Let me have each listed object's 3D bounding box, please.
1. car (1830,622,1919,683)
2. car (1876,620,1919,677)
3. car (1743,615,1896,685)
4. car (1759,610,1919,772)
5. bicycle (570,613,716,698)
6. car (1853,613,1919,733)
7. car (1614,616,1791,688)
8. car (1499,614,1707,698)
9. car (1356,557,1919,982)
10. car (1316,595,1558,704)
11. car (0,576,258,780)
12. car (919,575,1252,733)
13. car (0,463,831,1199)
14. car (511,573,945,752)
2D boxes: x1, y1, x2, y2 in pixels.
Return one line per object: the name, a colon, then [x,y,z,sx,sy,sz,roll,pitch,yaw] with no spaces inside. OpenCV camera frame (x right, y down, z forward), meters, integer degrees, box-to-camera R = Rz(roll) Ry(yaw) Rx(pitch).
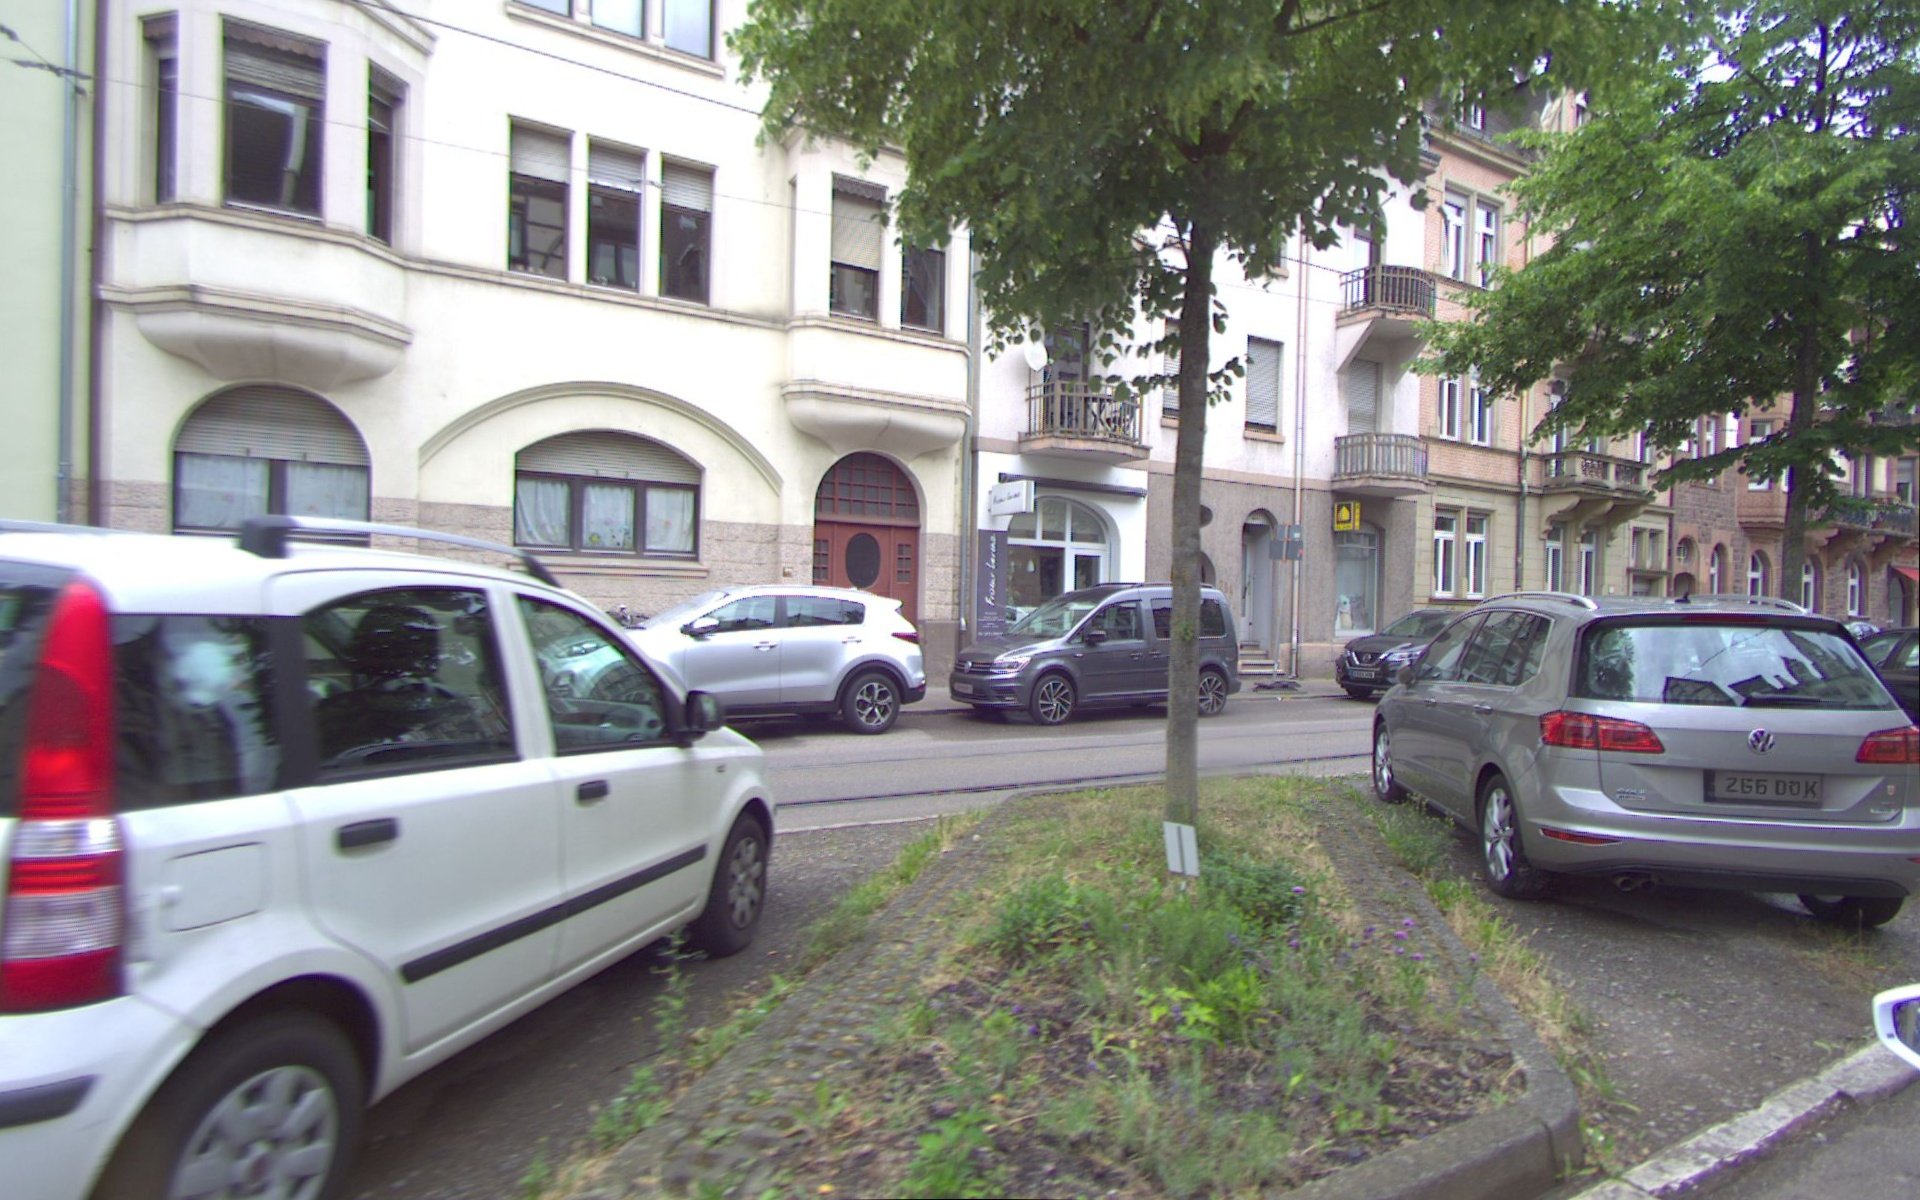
car: [26.469,1.476,28.477,3.680,1.580,1.653,2,0,-31]
car: [30.419,1.524,31.177,4.502,1.648,1.731,2,0,-31]
car: [22.257,1.270,25.978,4.271,1.650,1.759,2,0,-31]
car: [10.057,0.878,10.053,1.740,1.505,4.002,1,0,15]
bicycle: [-4.412,0.758,14.026,1.845,1.102,0.651,1,1,-29]
car: [12.847,0.959,11.665,1.826,1.513,4.567,2,0,16]
car: [16.970,1.170,22.916,4.182,1.457,1.795,2,0,-31]
car: [13.017,1.098,20.266,4.337,1.509,1.795,2,0,-31]
car: [3.741,0.715,6.107,1.690,1.630,4.210,2,-1,11]
car: [8.410,0.843,17.634,4.224,1.702,1.795,2,0,-31]
car: [-8.226,0.575,8.051,4.149,1.542,1.840,1,0,-33]
car: [1.792,0.688,13.986,4.379,1.895,1.842,1,0,-30]
car: [-1.804,0.591,3.219,1.656,1.547,3.430,2,-1,12]
car: [-2.541,0.628,11.403,4.445,1.681,1.840,1,0,-33]
